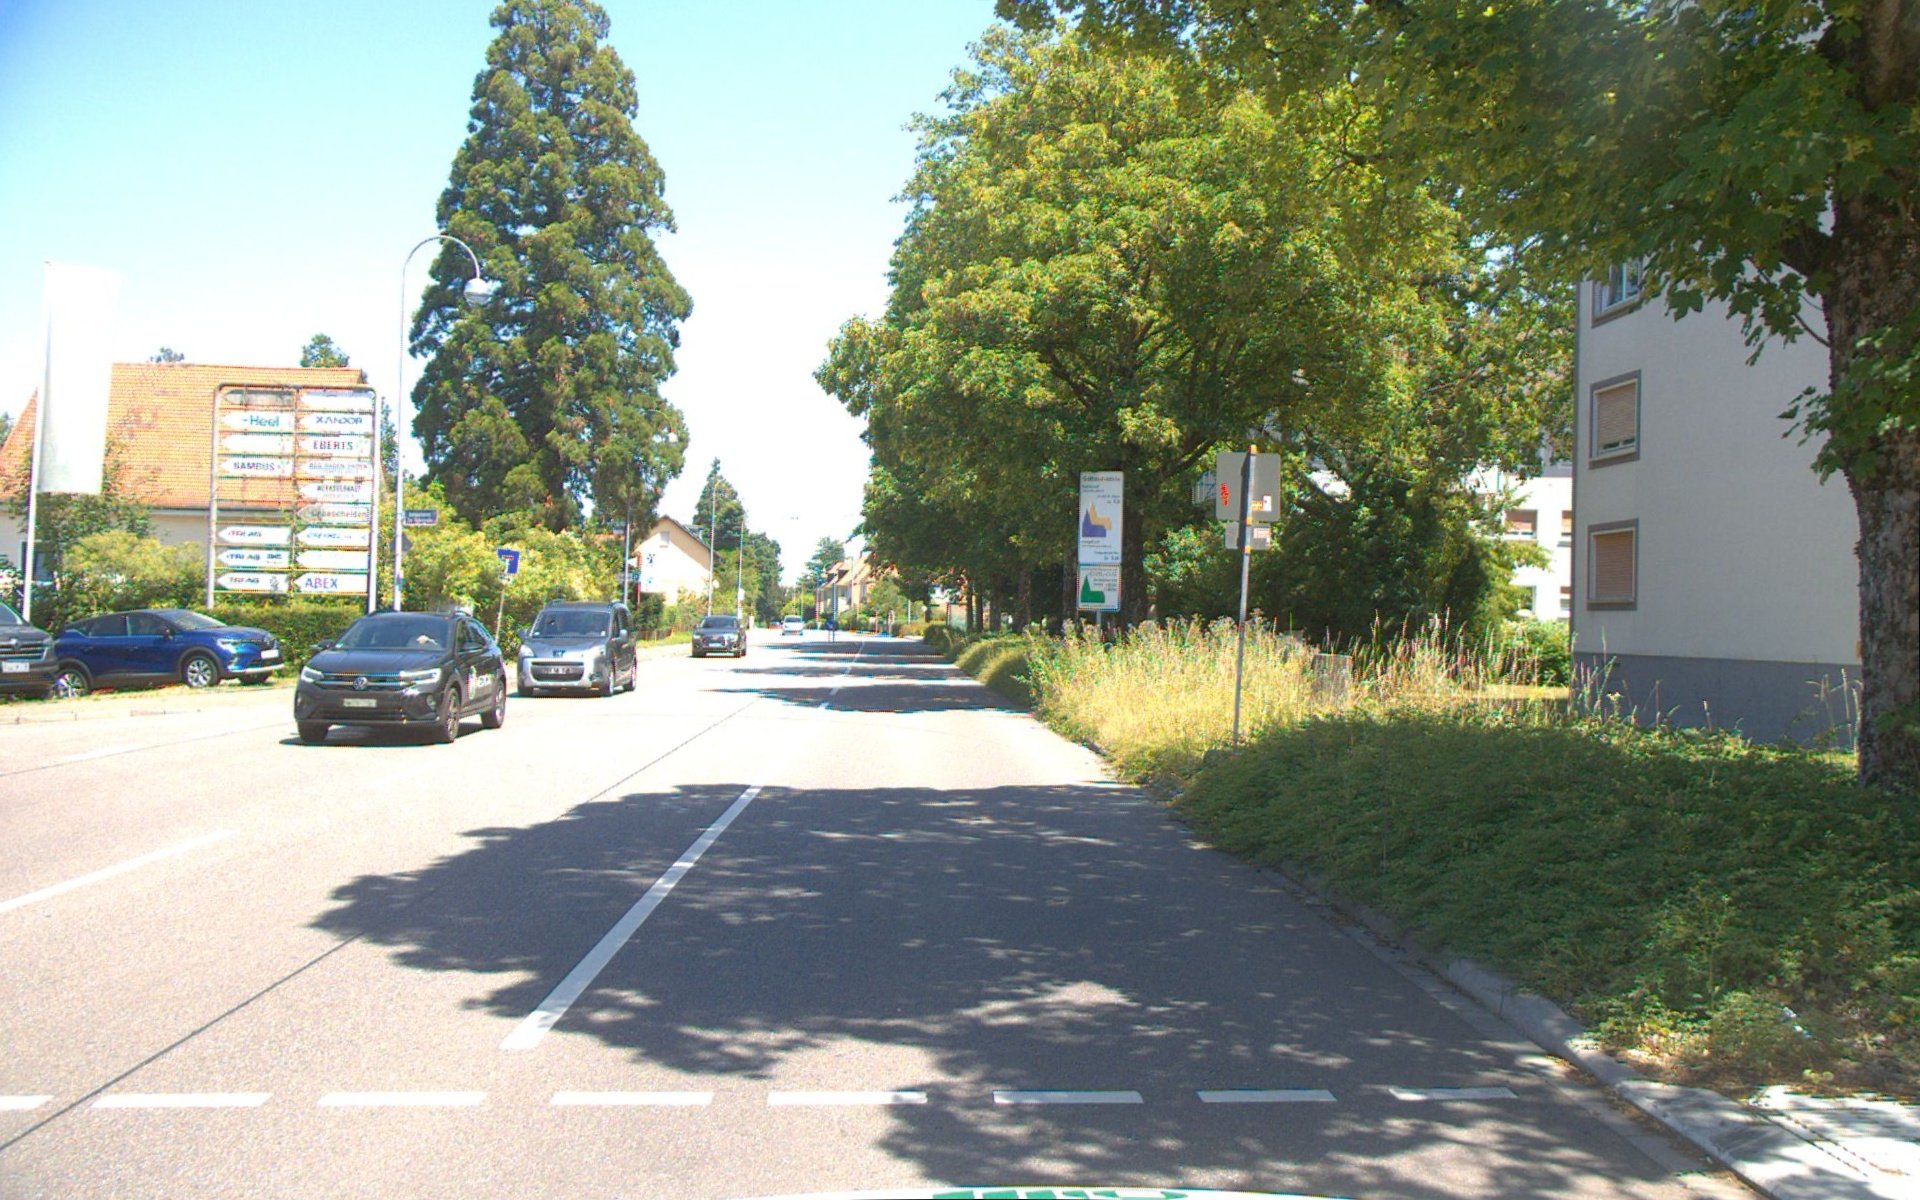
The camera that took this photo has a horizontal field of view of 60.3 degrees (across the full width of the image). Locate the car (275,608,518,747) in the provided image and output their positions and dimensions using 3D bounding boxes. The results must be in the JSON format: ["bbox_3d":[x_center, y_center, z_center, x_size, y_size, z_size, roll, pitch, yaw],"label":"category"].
[{"bbox_3d":[-6.787,0.881,20.376,1.832,1.533,4.049,0,-1,-4],"label":"car"}]

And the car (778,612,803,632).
[{"bbox_3d":[-14.243,1.856,139.287,1.874,1.719,4.122,0,-1,-3],"label":"car"}]

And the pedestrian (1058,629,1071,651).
[{"bbox_3d":[5.754,2.182,90.988,0.689,1.180,0.754,1,-1,1],"label":"pedestrian"}]

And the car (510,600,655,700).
[{"bbox_3d":[-7.207,0.917,32.023,1.774,1.793,4.569,0,0,-1],"label":"car"}]

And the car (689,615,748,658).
[{"bbox_3d":[-9.263,1.384,63.701,1.758,1.563,4.313,1,-1,-2],"label":"car"}]

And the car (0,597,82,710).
[{"bbox_3d":[-17.382,0.895,28.292,4.358,1.757,2.061,0,3,29],"label":"car"}]

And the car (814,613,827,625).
[{"bbox_3d":[-21.852,3.015,259.219,1.778,1.748,3.998,1,-1,-2],"label":"car"}]

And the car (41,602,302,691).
[{"bbox_3d":[-14.597,0.846,30.724,4.046,1.531,1.779,1,-1,9],"label":"car"}]
